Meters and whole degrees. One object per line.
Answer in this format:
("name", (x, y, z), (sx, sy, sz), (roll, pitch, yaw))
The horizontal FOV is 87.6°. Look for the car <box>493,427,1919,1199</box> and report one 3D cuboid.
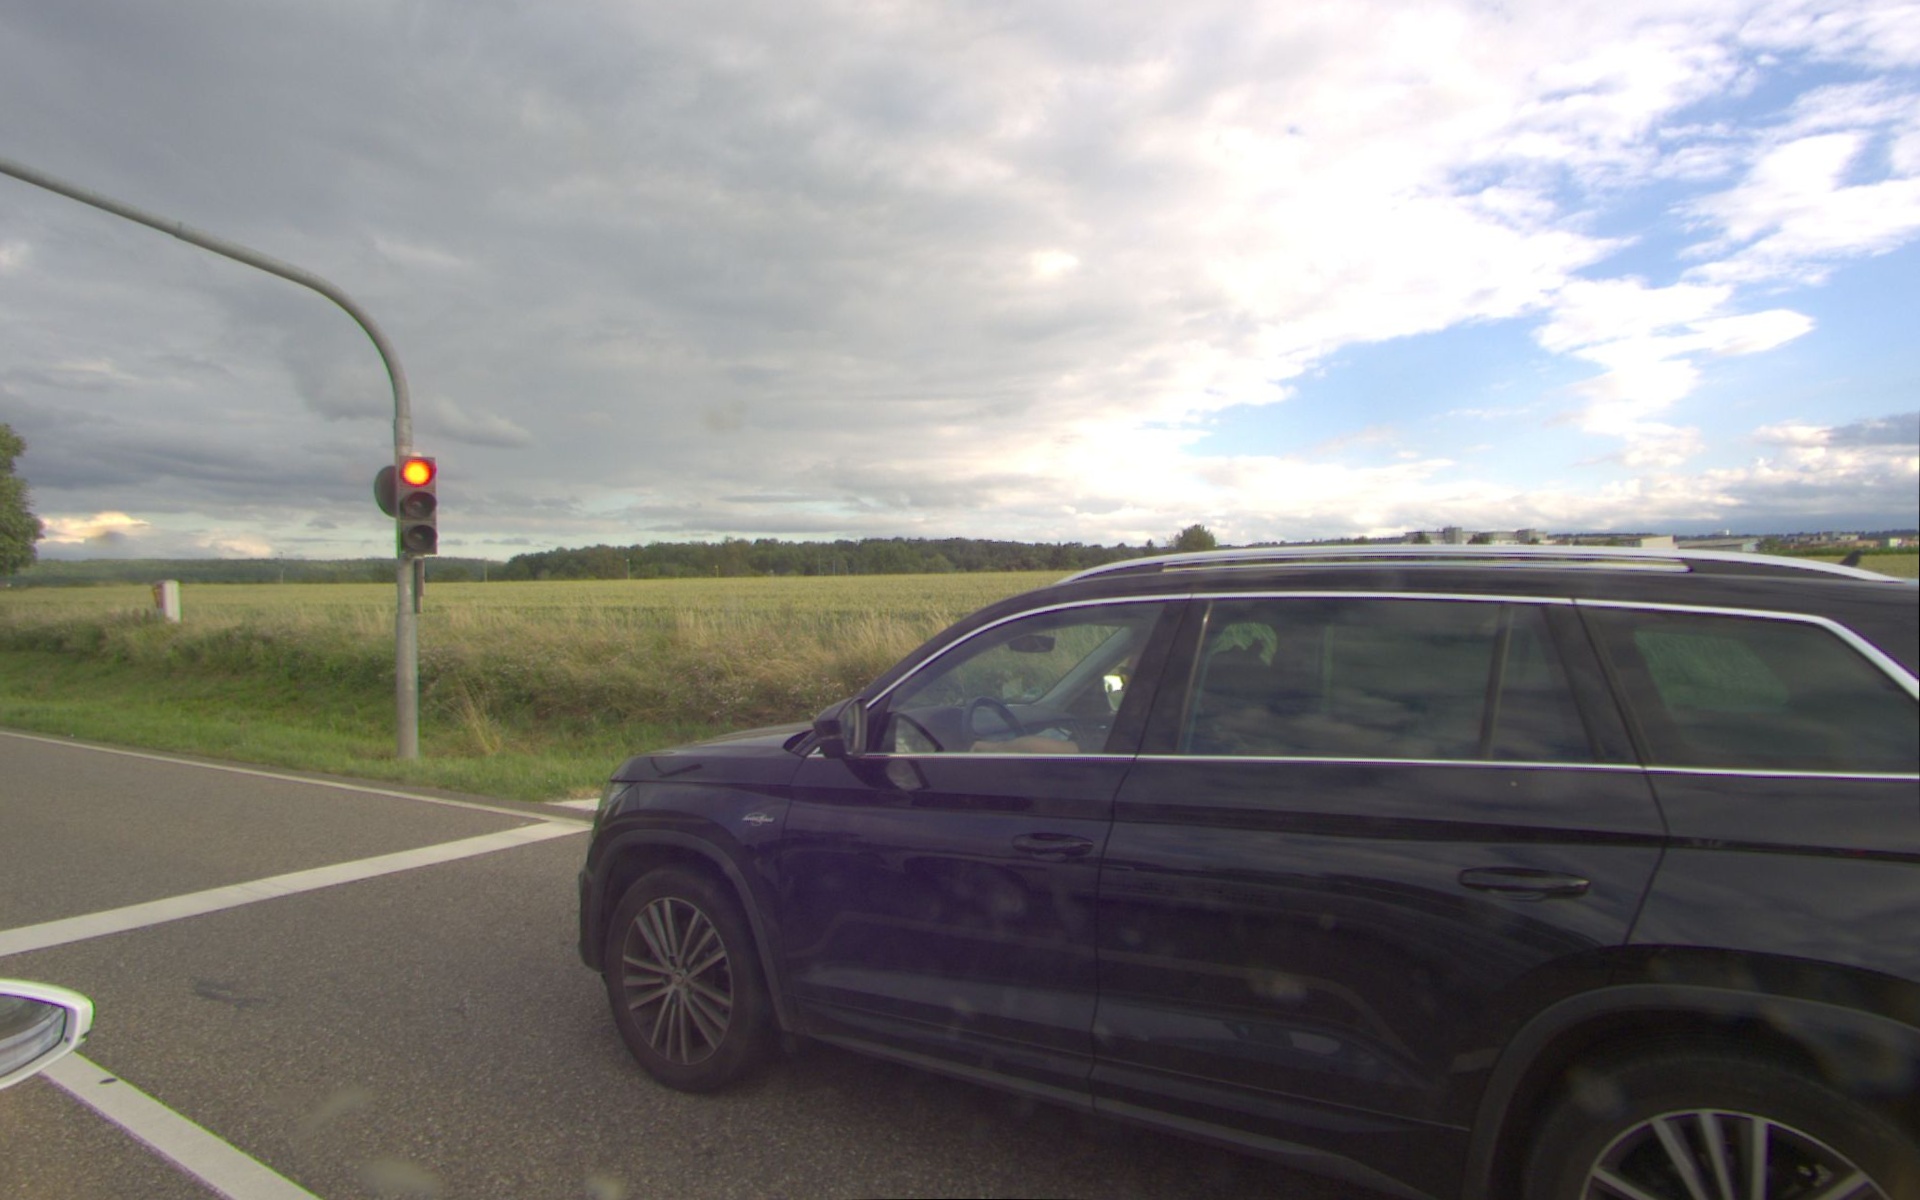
("car", (0.700, 0.657, 3.171), (4.492, 1.730, 1.833), (-1, -2, 32))
